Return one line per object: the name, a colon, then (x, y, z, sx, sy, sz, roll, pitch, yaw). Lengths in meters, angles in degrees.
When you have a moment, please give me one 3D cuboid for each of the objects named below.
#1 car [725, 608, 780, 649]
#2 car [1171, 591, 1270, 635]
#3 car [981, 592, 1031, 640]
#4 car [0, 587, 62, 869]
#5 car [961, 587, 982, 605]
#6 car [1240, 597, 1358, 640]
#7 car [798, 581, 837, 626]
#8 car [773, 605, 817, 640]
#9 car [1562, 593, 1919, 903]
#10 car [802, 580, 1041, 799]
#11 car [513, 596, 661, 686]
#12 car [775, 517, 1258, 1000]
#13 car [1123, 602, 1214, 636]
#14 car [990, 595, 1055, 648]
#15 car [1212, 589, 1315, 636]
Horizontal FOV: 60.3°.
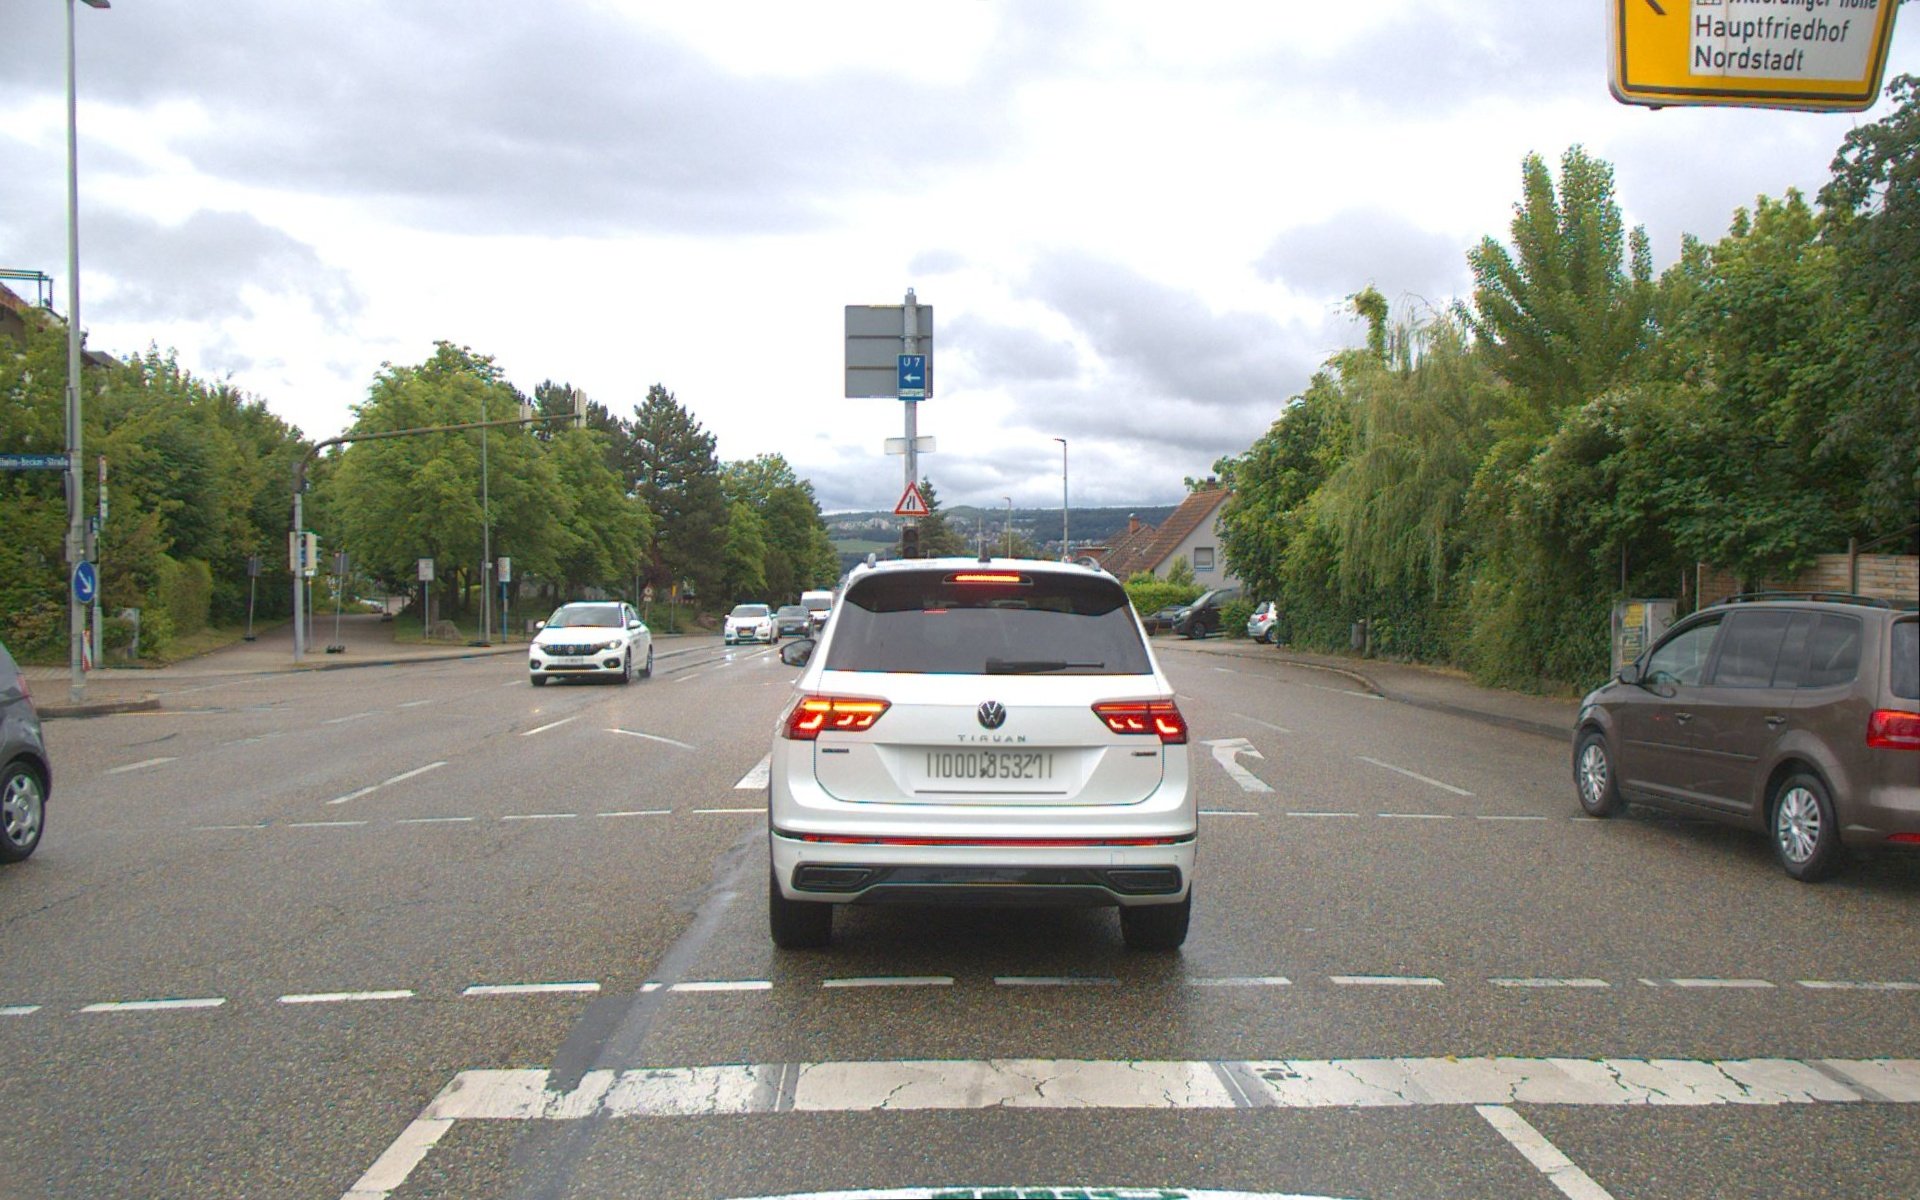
car: (-7.662, 1.046, 61.392, 1.711, 1.421, 3.800, 0, 0, -3)
car: (10.258, 0.503, 65.288, 3.556, 1.654, 1.790, 1, 1, -5)
car: (1.752, 0.592, 63.629, 1.677, 1.789, 3.800, 0, 0, -2)
car: (-6.352, 0.774, 8.444, 1.665, 1.627, 3.548, -2, 0, -3)
car: (1.008, -0.348, 146.816, 1.813, 1.602, 4.000, -1, 0, -1)
car: (11.782, 0.645, 57.540, 3.644, 1.420, 1.725, -1, -1, -8)
car: (-8.452, 0.171, 98.202, 2.252, 2.572, 5.768, -1, 0, -5)
car: (-7.652, 1.036, 76.968, 1.740, 1.528, 4.470, -1, 0, -2)
car: (5.565, 0.775, 10.649, 1.701, 1.602, 4.066, 1, 0, -3)
car: (-0.300, 0.659, 14.325, 1.762, 1.617, 3.926, 1, 0, 0)
car: (-6.995, 0.724, 31.440, 1.928, 1.479, 4.307, -1, 1, -2)
car: (0.154, 0.578, 8.233, 1.727, 1.725, 4.271, 2, 0, -2)
car: (8.832, 0.814, 70.140, 3.613, 1.394, 1.518, 1, -2, -3)
car: (1.845, 0.620, 49.739, 1.646, 1.485, 3.800, 1, 0, -2)
car: (11.514, 0.465, 62.904, 3.556, 1.777, 1.706, 0, 0, -5)
